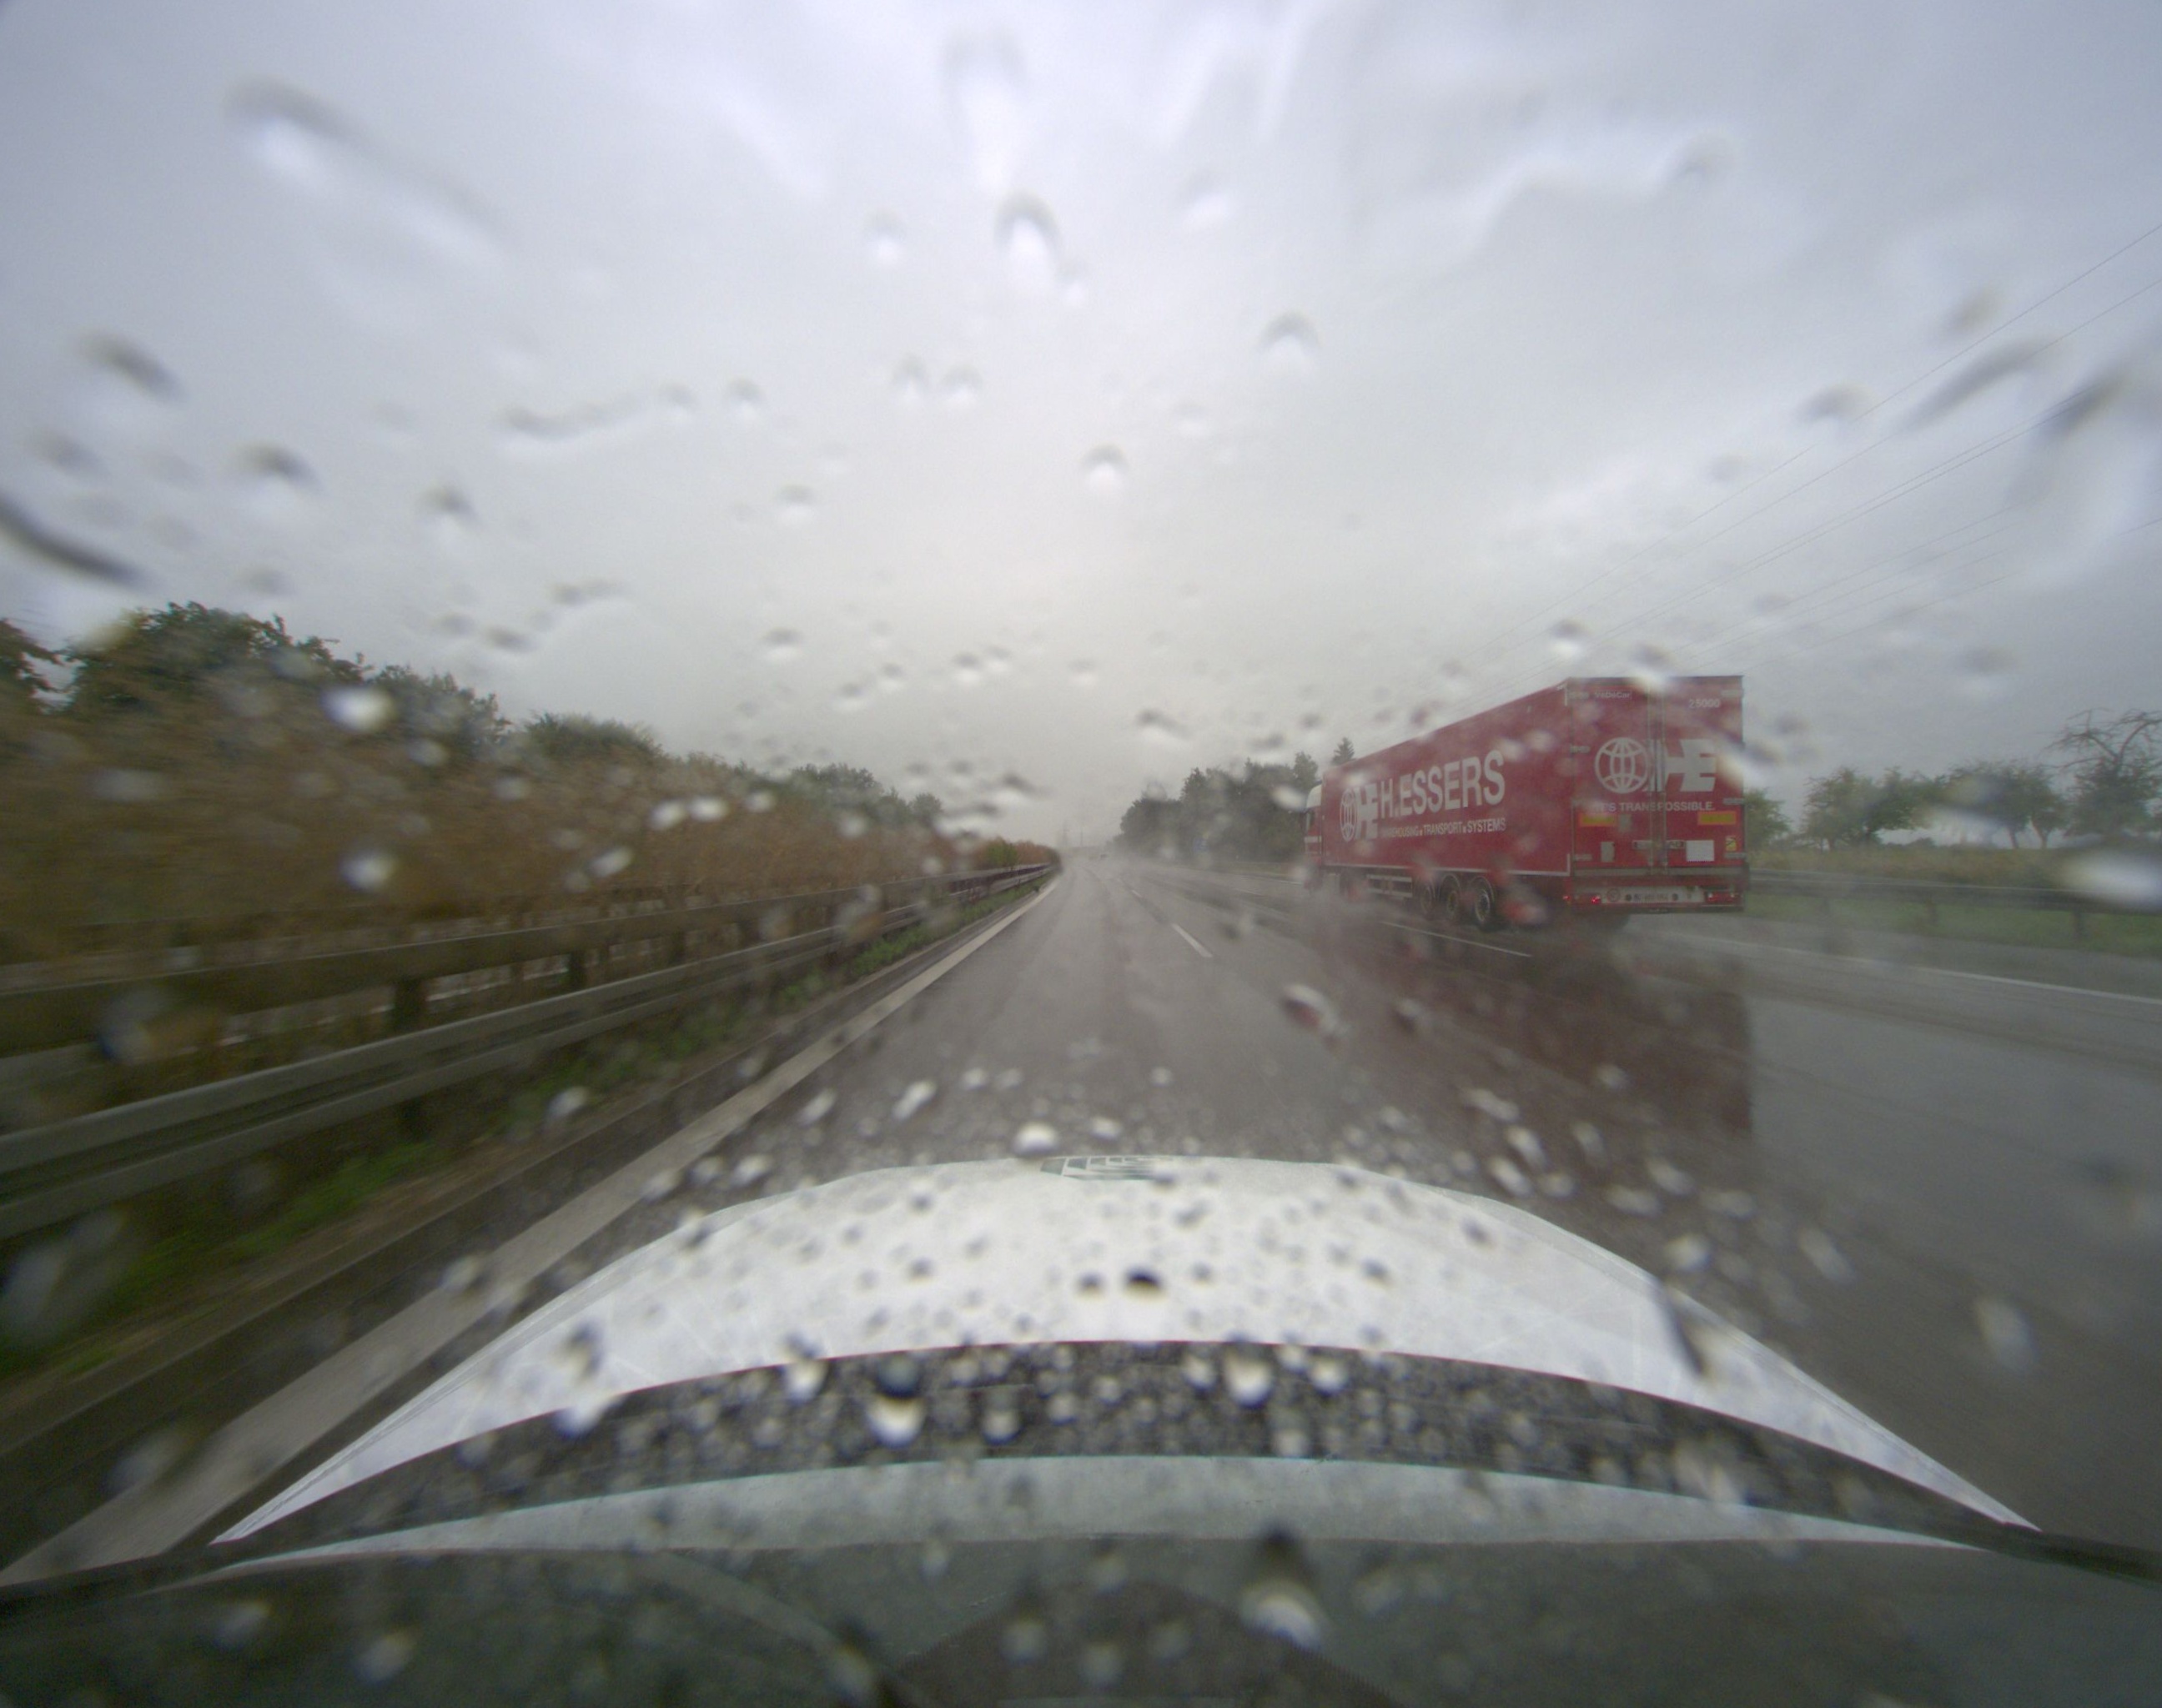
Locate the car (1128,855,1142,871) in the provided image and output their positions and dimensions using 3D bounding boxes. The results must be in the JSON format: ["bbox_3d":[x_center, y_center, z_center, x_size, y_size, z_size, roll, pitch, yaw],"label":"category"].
[{"bbox_3d":[7.699,1.272,115.883,1.800,2.158,4.002,-1,0,2],"label":"car"}]

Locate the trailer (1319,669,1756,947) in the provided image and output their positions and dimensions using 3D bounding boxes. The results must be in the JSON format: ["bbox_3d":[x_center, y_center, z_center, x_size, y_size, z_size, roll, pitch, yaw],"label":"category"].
[{"bbox_3d":[8.584,-0.657,18.587,2.610,3.955,13.635,-1,0,2],"label":"trailer"}]

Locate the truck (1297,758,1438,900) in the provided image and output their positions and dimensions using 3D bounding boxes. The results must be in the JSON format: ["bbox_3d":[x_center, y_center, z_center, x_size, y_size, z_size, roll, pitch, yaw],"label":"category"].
[{"bbox_3d":[8.787,-0.698,25.679,2.610,3.955,5.435,-1,0,2],"label":"truck"}]
